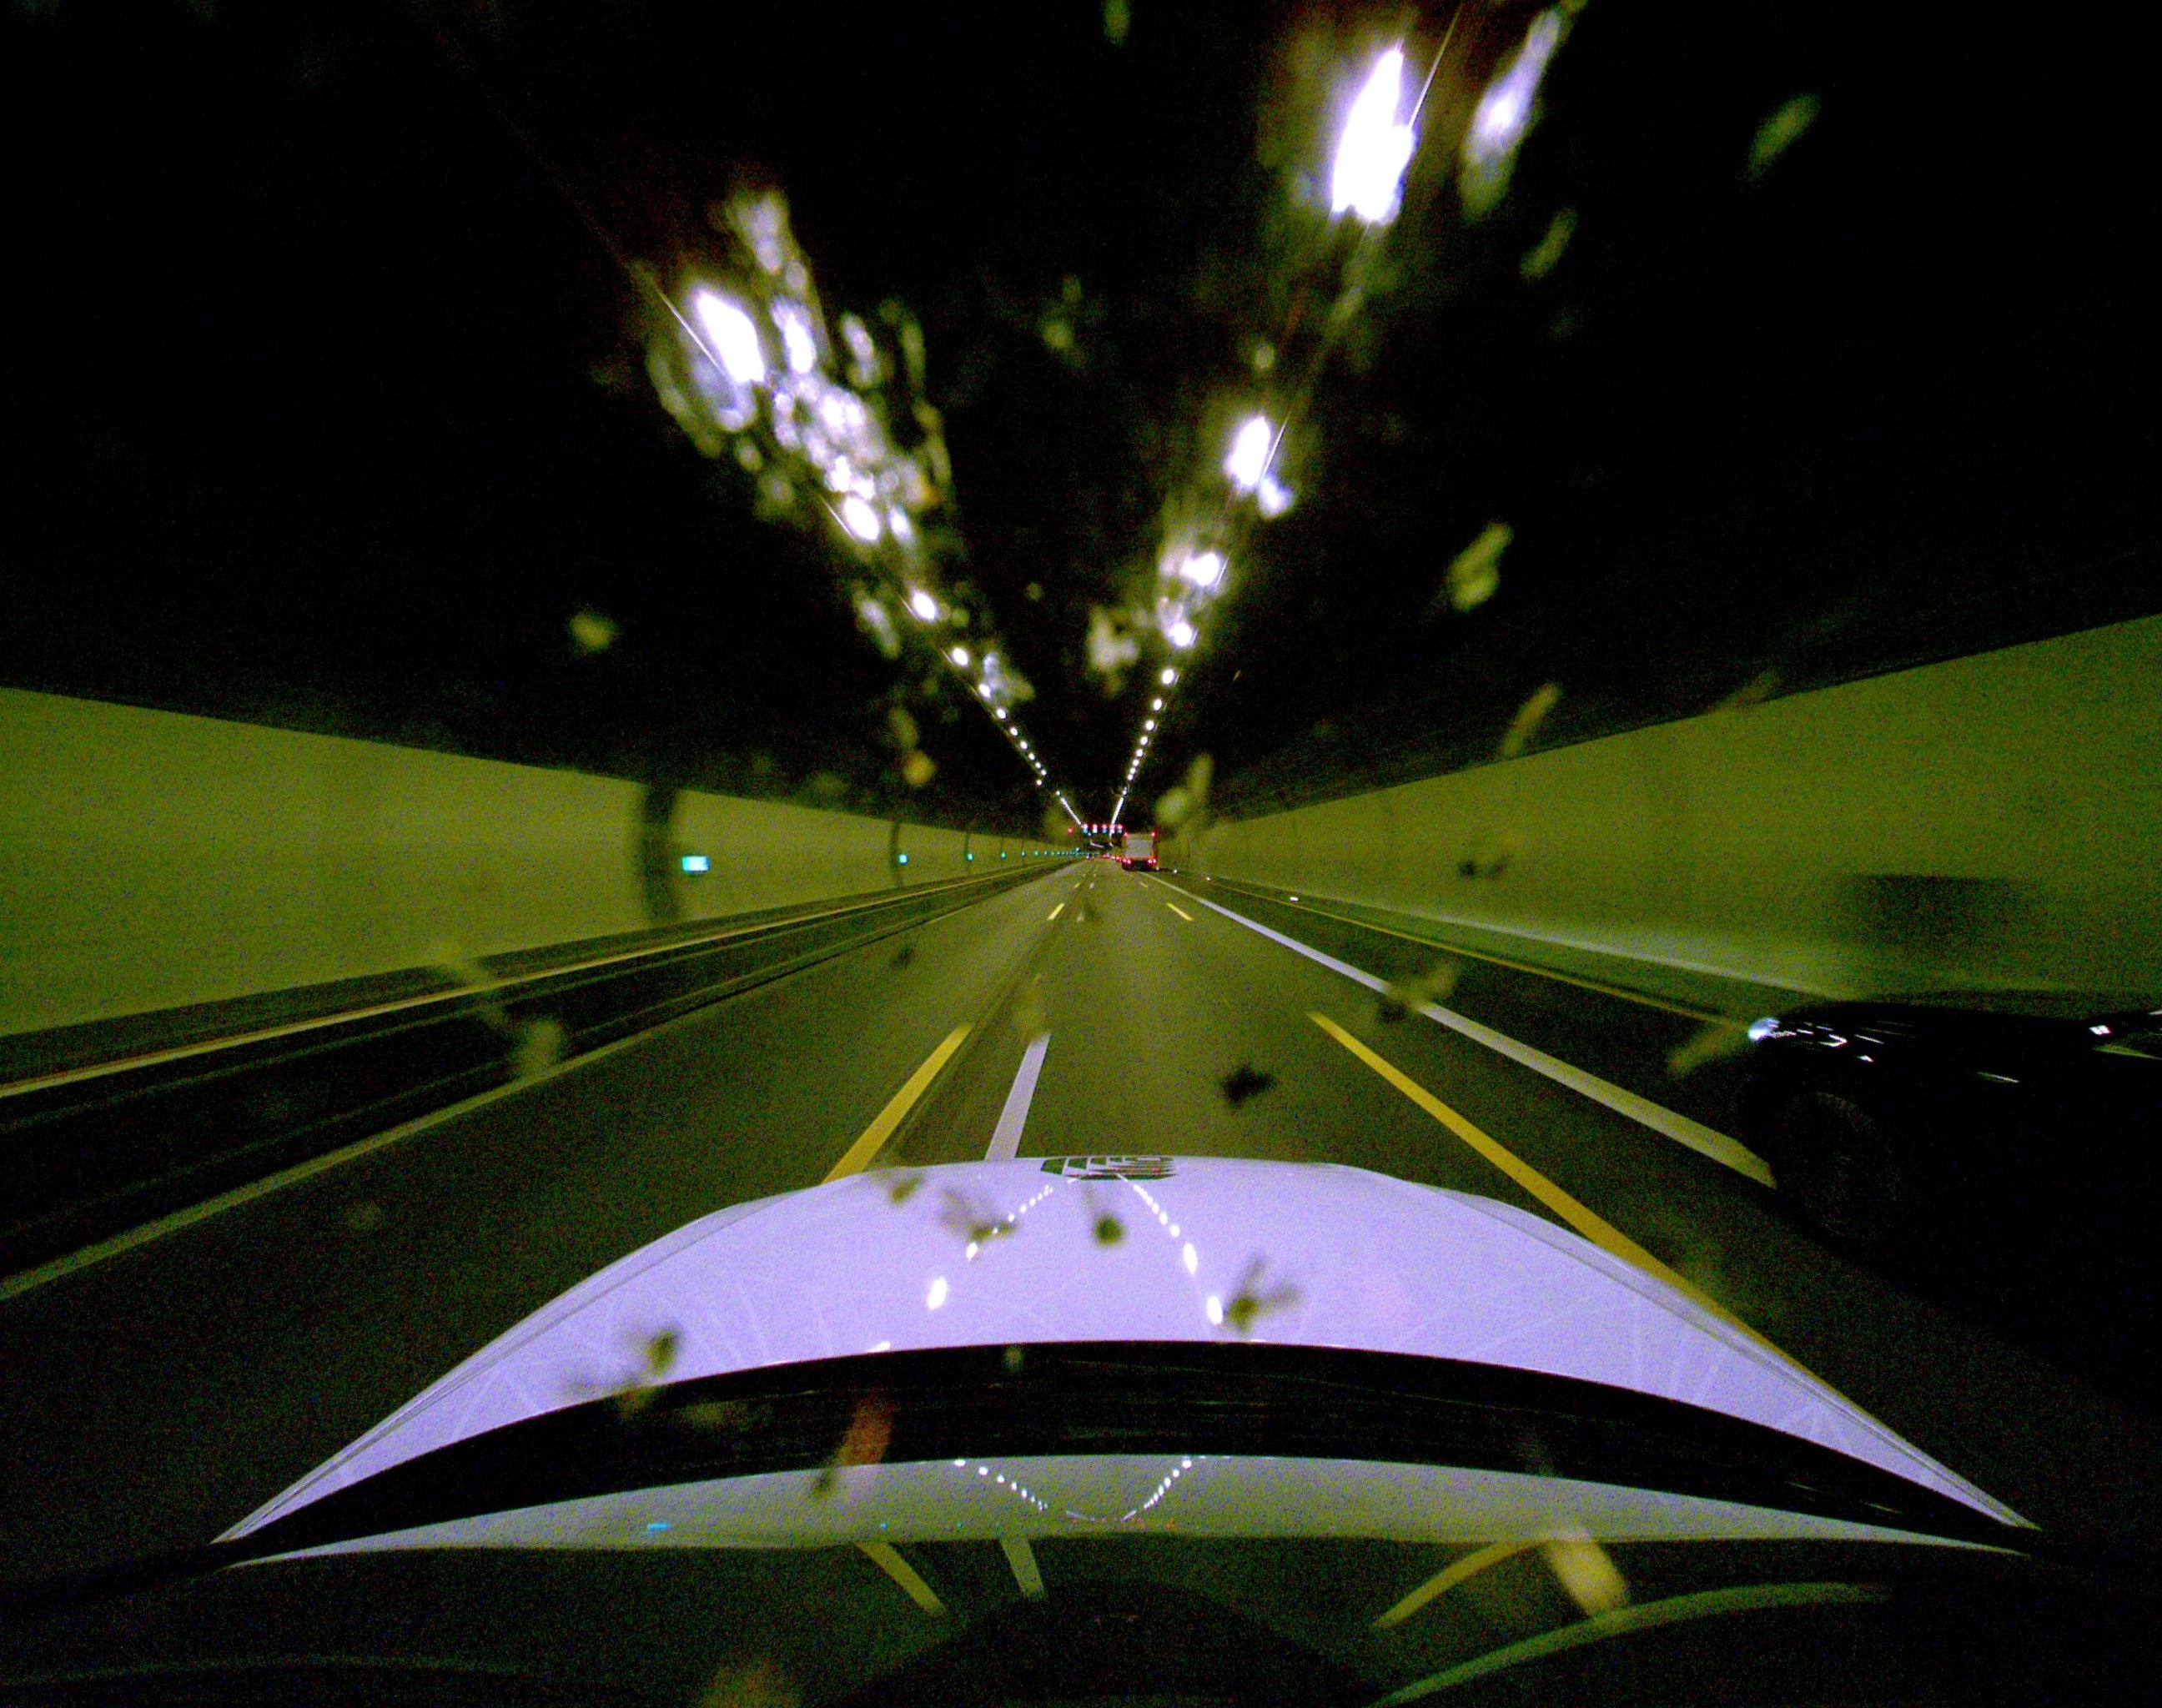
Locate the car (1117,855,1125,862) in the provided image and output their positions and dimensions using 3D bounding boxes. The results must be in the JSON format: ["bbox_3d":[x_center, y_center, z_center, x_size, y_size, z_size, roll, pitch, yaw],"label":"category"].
[{"bbox_3d":[8.232,0.905,166.827,1.732,1.461,3.964,0,1,3],"label":"car"}]

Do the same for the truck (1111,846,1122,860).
[{"bbox_3d":[10.487,-0.172,239.039,3.053,3.918,10.376,1,-1,3],"label":"truck"}]

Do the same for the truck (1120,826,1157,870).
[{"bbox_3d":[5.389,-0.472,77.775,3.080,3.918,10.372,1,-1,2],"label":"truck"}]

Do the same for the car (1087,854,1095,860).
[{"bbox_3d":[2.278,0.693,188.741,1.752,1.461,4.121,0,1,2],"label":"car"}]

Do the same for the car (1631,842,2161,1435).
[{"bbox_3d":[3.634,0.710,1.600,1.918,1.472,4.956,0,0,2],"label":"car"}]
